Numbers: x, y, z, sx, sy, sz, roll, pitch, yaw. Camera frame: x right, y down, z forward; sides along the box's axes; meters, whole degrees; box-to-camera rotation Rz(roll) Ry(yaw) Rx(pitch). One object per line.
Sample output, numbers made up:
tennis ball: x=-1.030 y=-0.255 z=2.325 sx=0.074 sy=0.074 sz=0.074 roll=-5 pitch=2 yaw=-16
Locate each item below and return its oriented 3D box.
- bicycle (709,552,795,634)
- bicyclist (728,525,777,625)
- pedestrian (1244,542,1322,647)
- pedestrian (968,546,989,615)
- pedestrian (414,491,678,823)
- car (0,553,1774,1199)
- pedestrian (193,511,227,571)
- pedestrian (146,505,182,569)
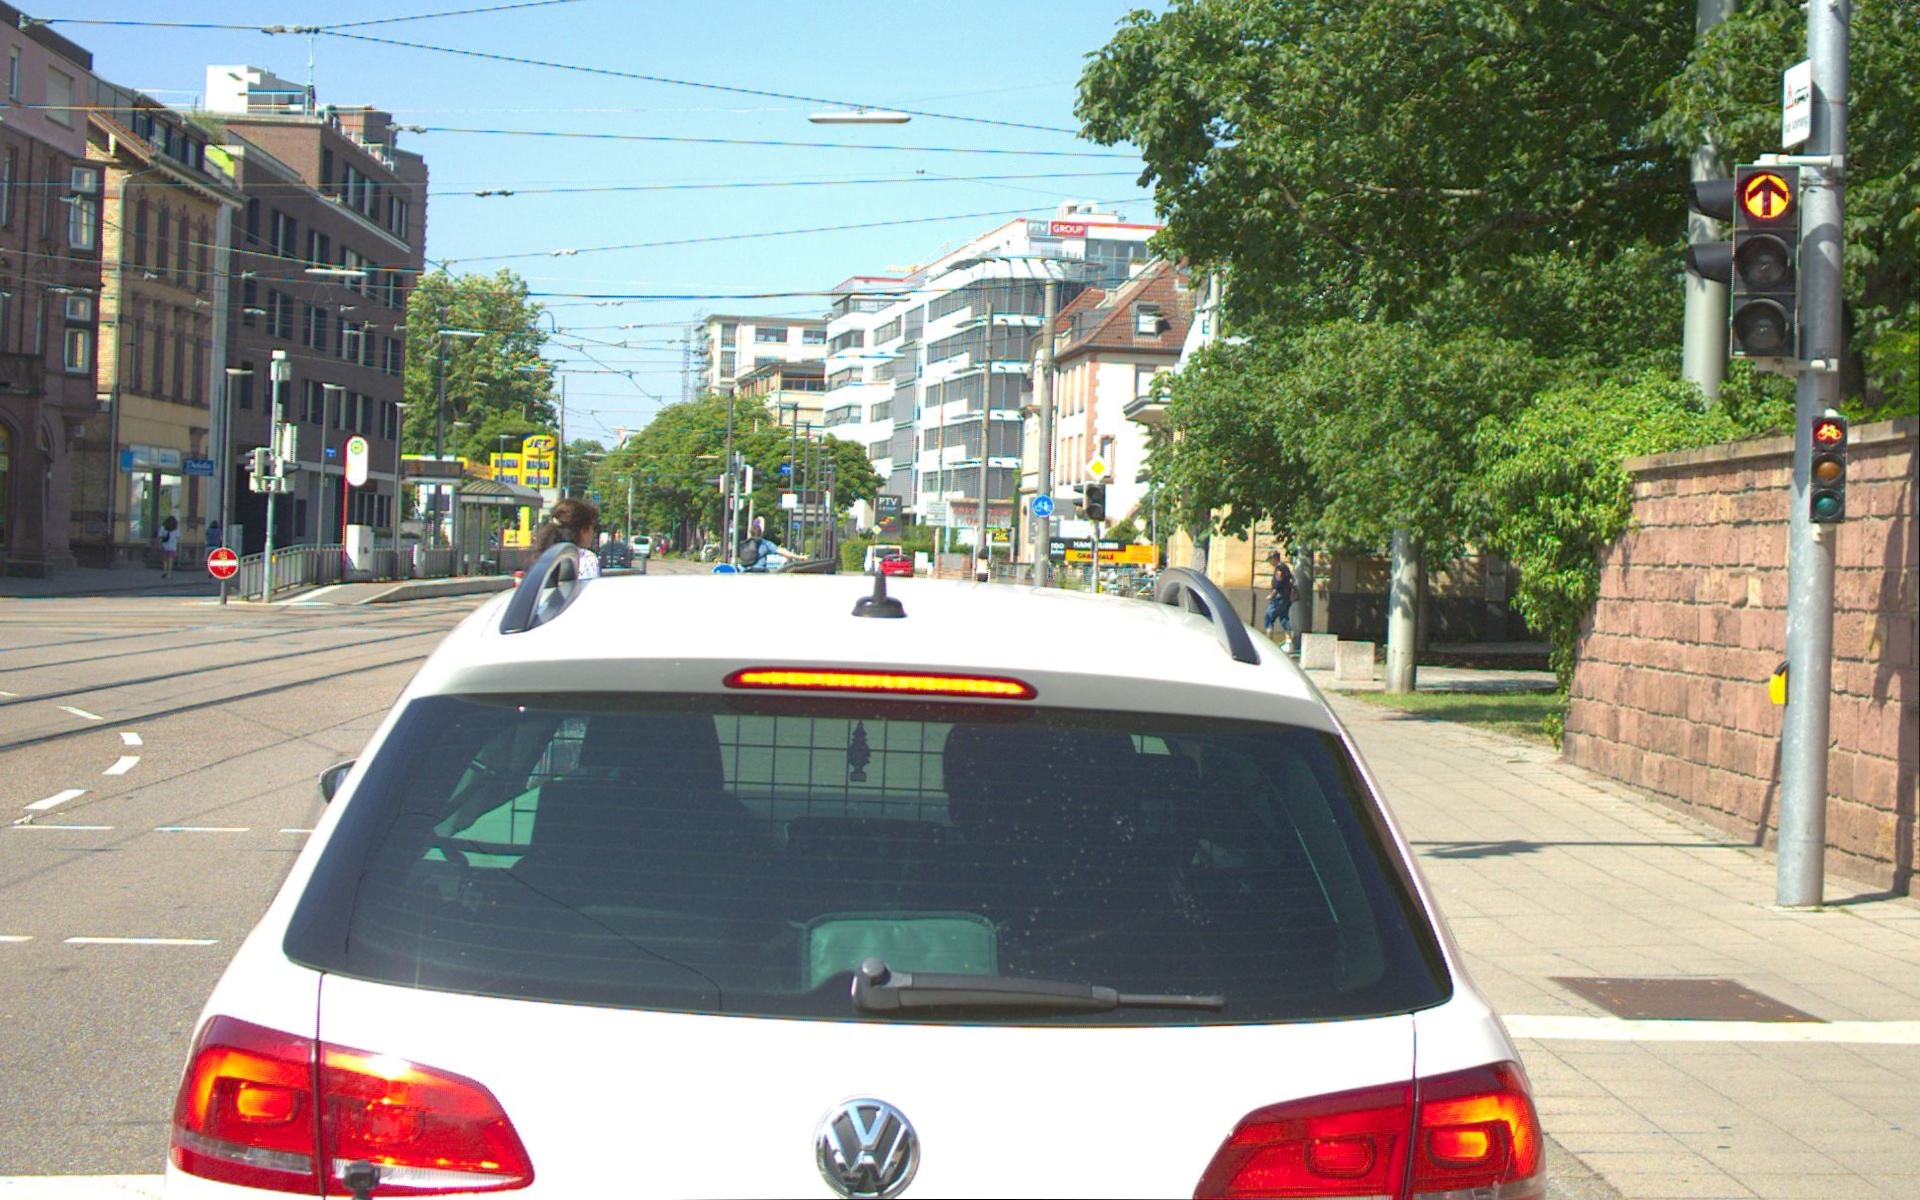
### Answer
bicycle: x=-3.332 y=-0.104 z=55.340 sx=0.558 sy=1.293 sz=2.247 roll=0 pitch=0 yaw=19
bicyclist: x=-3.339 y=-0.397 z=55.334 sx=0.561 sy=1.607 sz=0.637 roll=0 pitch=0 yaw=20
pedestrian: x=5.383 y=-0.090 z=57.332 sx=0.974 sy=1.737 sz=0.862 roll=0 pitch=0 yaw=39
pedestrian: x=0.618 y=-0.651 z=115.214 sx=0.690 sy=2.317 sz=1.232 roll=0 pitch=0 yaw=1
pedestrian: x=-2.133 y=0.283 z=17.702 sx=0.972 sy=1.645 sz=0.955 roll=0 pitch=0 yaw=-42
car: x=-0.141 y=0.683 z=5.441 sx=1.808 sy=1.443 sz=4.000 roll=2 pitch=1 yaw=-1
pedestrian: x=-22.115 y=-1.742 z=101.396 sx=0.861 sy=1.737 sz=0.975 roll=0 pitch=0 yaw=-6
pedestrian: x=-22.010 y=-1.742 z=95.074 sx=0.861 sy=1.737 sz=0.975 roll=0 pitch=0 yaw=-6
